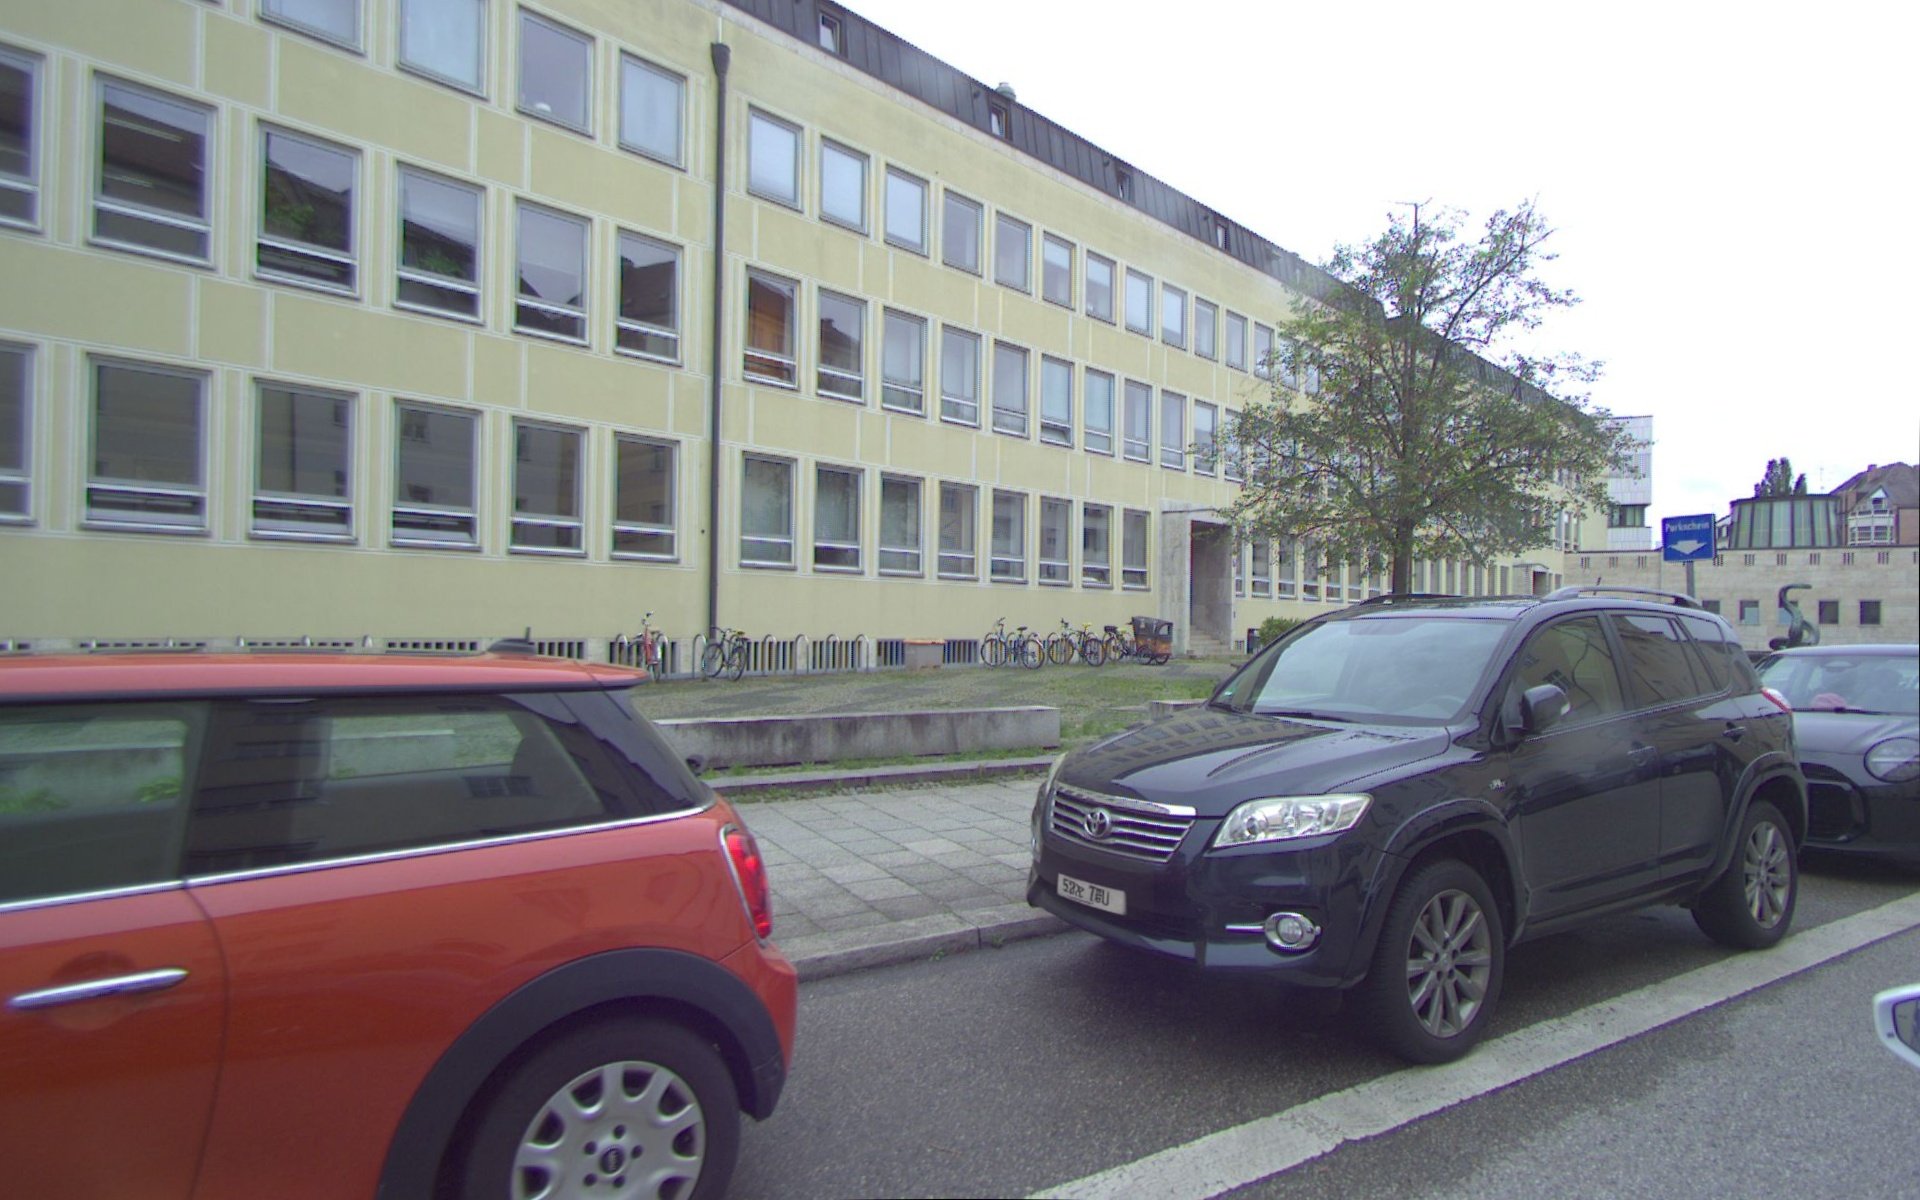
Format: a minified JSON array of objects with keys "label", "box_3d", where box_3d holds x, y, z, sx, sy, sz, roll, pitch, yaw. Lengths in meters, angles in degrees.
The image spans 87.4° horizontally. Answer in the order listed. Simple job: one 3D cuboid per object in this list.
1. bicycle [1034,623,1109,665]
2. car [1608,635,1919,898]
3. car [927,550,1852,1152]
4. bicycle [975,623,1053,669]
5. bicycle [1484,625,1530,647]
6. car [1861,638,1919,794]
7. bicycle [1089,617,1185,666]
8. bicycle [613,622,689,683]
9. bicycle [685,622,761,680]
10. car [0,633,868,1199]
[{"label":"bicycle","box_3d":[2.856,1.117,25.845,1.926,1.028,0.622,0,-1,44]},{"label":"car","box_3d":[6.617,1.001,7.308,3.825,1.472,1.672,1,-3,-31]},{"label":"car","box_3d":[2.185,0.801,4.741,4.398,1.687,1.736,1,-4,-31]},{"label":"bicycle","box_3d":[1.278,1.088,24.062,1.926,1.028,0.622,0,-1,44]},{"label":"bicycle","box_3d":[26.871,1.771,49.363,0.621,1.028,1.928,1,-1,-44]},{"label":"car","box_3d":[10.921,1.118,10.215,3.932,1.472,1.647,1,-3,-33]},{"label":"bicycle","box_3d":[4.835,1.101,27.546,2.409,1.265,1.050,0,-1,44]},{"label":"bicycle","box_3d":[-5.572,0.918,18.069,0.620,1.028,1.931,1,-1,-39]},{"label":"bicycle","box_3d":[-4.504,0.937,19.015,0.620,1.028,1.931,1,-1,-39]},{"label":"car","box_3d":[-2.327,0.802,2.215,3.872,1.406,1.735,1,0,-30]}]
